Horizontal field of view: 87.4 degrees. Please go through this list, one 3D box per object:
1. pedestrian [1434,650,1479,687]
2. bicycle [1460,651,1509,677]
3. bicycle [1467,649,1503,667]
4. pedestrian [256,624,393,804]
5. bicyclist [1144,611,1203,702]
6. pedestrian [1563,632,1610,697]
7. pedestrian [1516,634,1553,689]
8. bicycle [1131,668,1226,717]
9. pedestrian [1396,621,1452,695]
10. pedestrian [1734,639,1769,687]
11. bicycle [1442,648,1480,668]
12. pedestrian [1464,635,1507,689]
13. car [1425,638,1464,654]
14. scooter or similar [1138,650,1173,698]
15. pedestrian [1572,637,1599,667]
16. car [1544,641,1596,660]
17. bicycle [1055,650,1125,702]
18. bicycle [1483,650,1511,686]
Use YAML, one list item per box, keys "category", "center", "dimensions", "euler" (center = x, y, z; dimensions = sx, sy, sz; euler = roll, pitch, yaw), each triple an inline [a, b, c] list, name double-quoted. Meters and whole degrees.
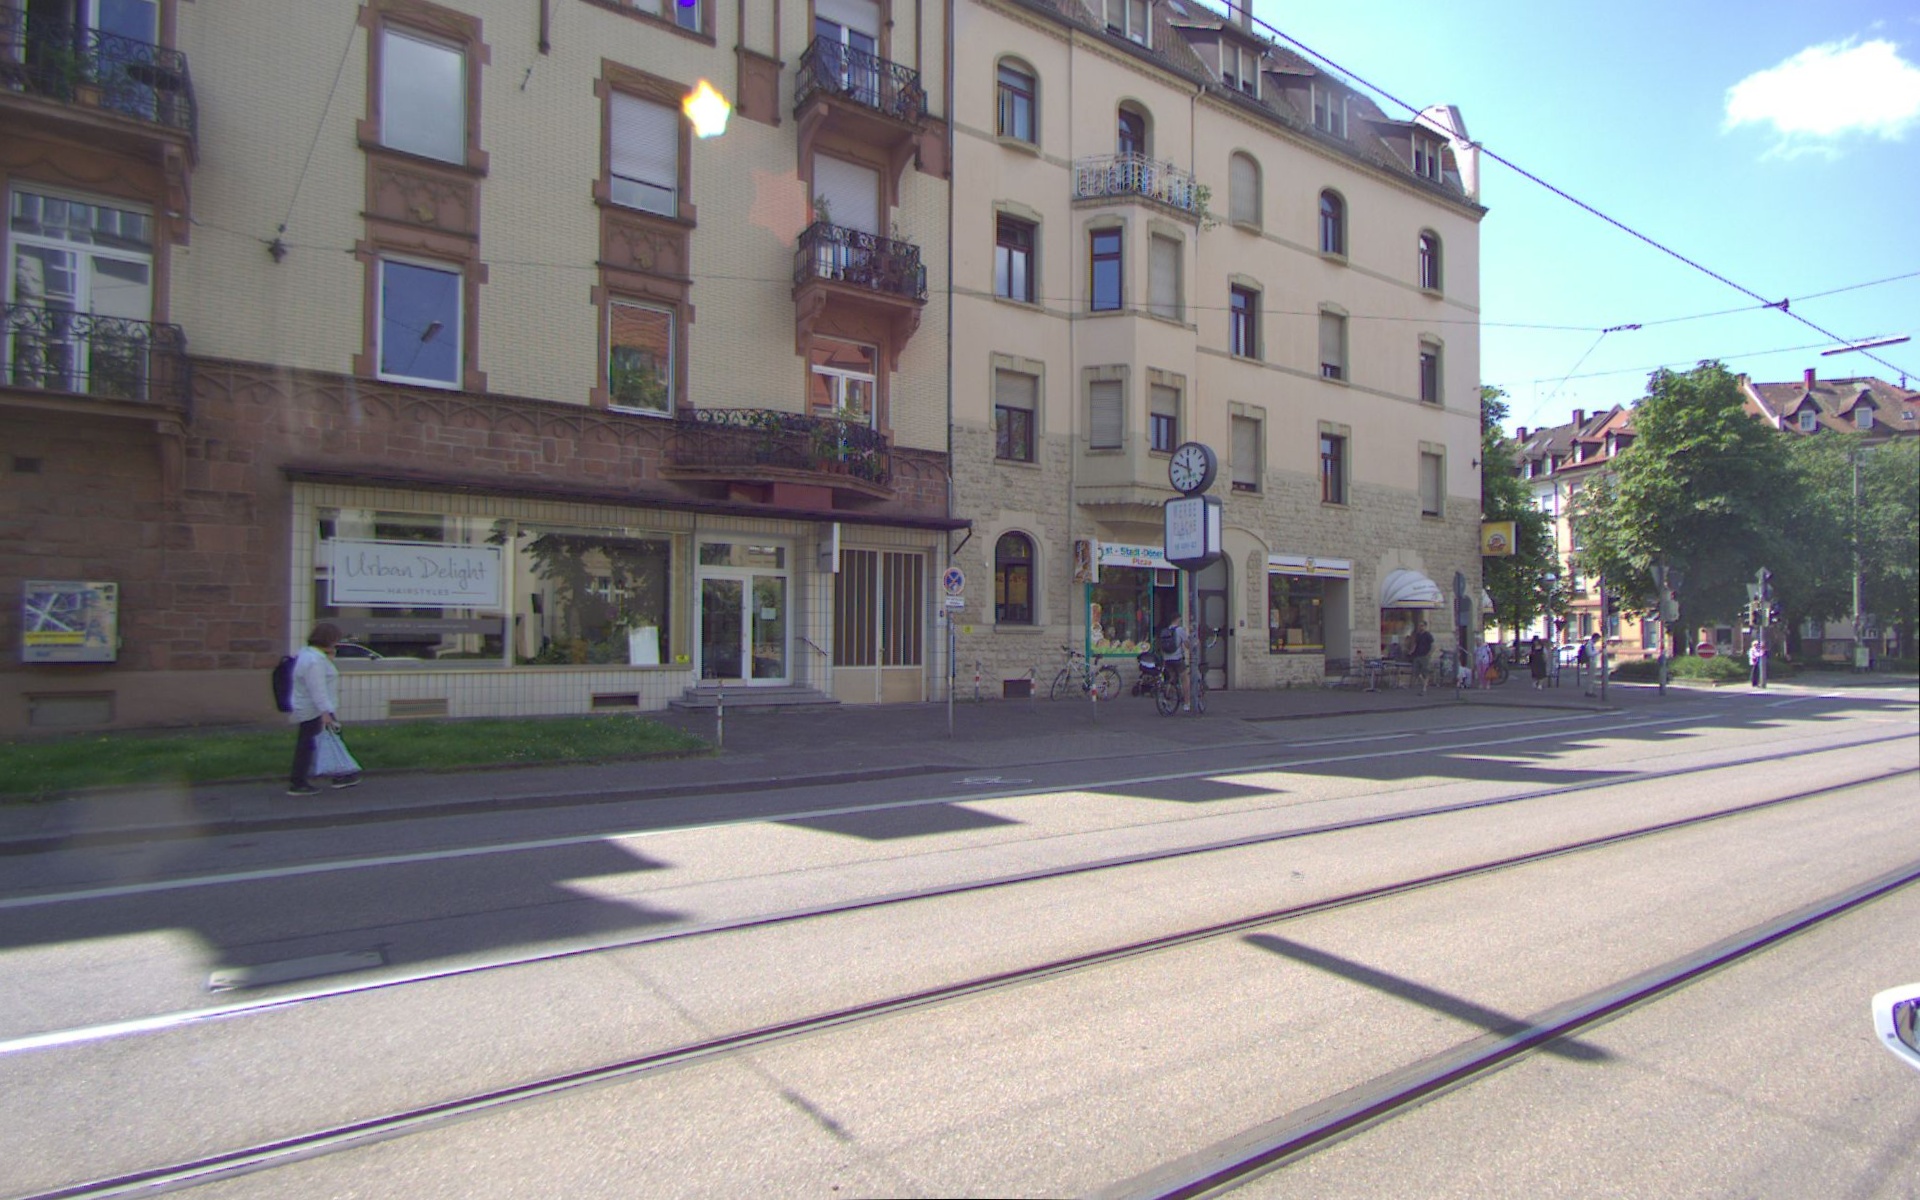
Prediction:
- category: "pedestrian"
  center: [15.039, 2.066, 30.433]
  dimensions: [0.873, 1.092, 0.911]
  euler: [1, -2, -32]
- category: "bicycle"
  center: [21.304, 2.605, 40.799]
  dimensions: [1.697, 1.046, 0.544]
  euler: [0, -2, 0]
- category: "bicycle"
  center: [31.200, 3.418, 59.672]
  dimensions: [1.825, 1.046, 0.543]
  euler: [-1, -2, 35]
- category: "pedestrian"
  center: [-5.945, 1.013, 9.399]
  dimensions: [0.976, 1.563, 0.894]
  euler: [2, -3, -38]
- category: "bicyclist"
  center: [4.113, 1.071, 19.355]
  dimensions: [0.824, 1.685, 0.749]
  euler: [2, -1, -41]
- category: "pedestrian"
  center: [17.485, 1.795, 28.042]
  dimensions: [0.767, 1.755, 0.855]
  euler: [1, -1, -31]
- category: "pedestrian"
  center: [17.711, 1.895, 30.985]
  dimensions: [0.846, 1.657, 1.026]
  euler: [-1, -2, 22]
- category: "bicycle"
  center: [4.248, 1.771, 19.464]
  dimensions: [1.802, 0.828, 0.747]
  euler: [2, 1, -35]
- category: "pedestrian"
  center: [12.333, 1.539, 26.728]
  dimensions: [1.153, 1.916, 0.895]
  euler: [1, -2, -34]
- category: "pedestrian"
  center: [29.162, 2.300, 37.016]
  dimensions: [0.825, 1.745, 0.918]
  euler: [-1, -2, 26]
- category: "bicycle"
  center: [27.972, 3.227, 56.126]
  dimensions: [1.825, 1.046, 0.543]
  euler: [-1, -2, 35]
- category: "pedestrian"
  center: [15.851, 1.853, 30.297]
  dimensions: [0.910, 1.615, 0.801]
  euler: [2, -2, -35]
- category: "car"
  center: [45.893, 4.306, 95.198]
  dimensions: [1.654, 1.491, 3.467]
  euler: [0, -2, -8]
- category: "scooter or similar"
  center: [4.564, 1.708, 23.383]
  dimensions: [0.682, 1.058, 1.210]
  euler: [1, -1, 16]
- category: "pedestrian"
  center: [38.923, 3.233, 62.540]
  dimensions: [1.002, 1.893, 0.998]
  euler: [1, -2, -22]
- category: "car"
  center: [48.672, 3.996, 80.213]
  dimensions: [1.654, 1.491, 3.467]
  euler: [0, -2, -8]
- category: "bicycle"
  center: [2.842, 1.667, 21.990]
  dimensions: [1.439, 1.080, 0.370]
  euler: [2, -1, -10]
- category: "bicycle"
  center: [17.540, 2.227, 32.852]
  dimensions: [0.534, 1.143, 1.683]
  euler: [0, -4, 19]
